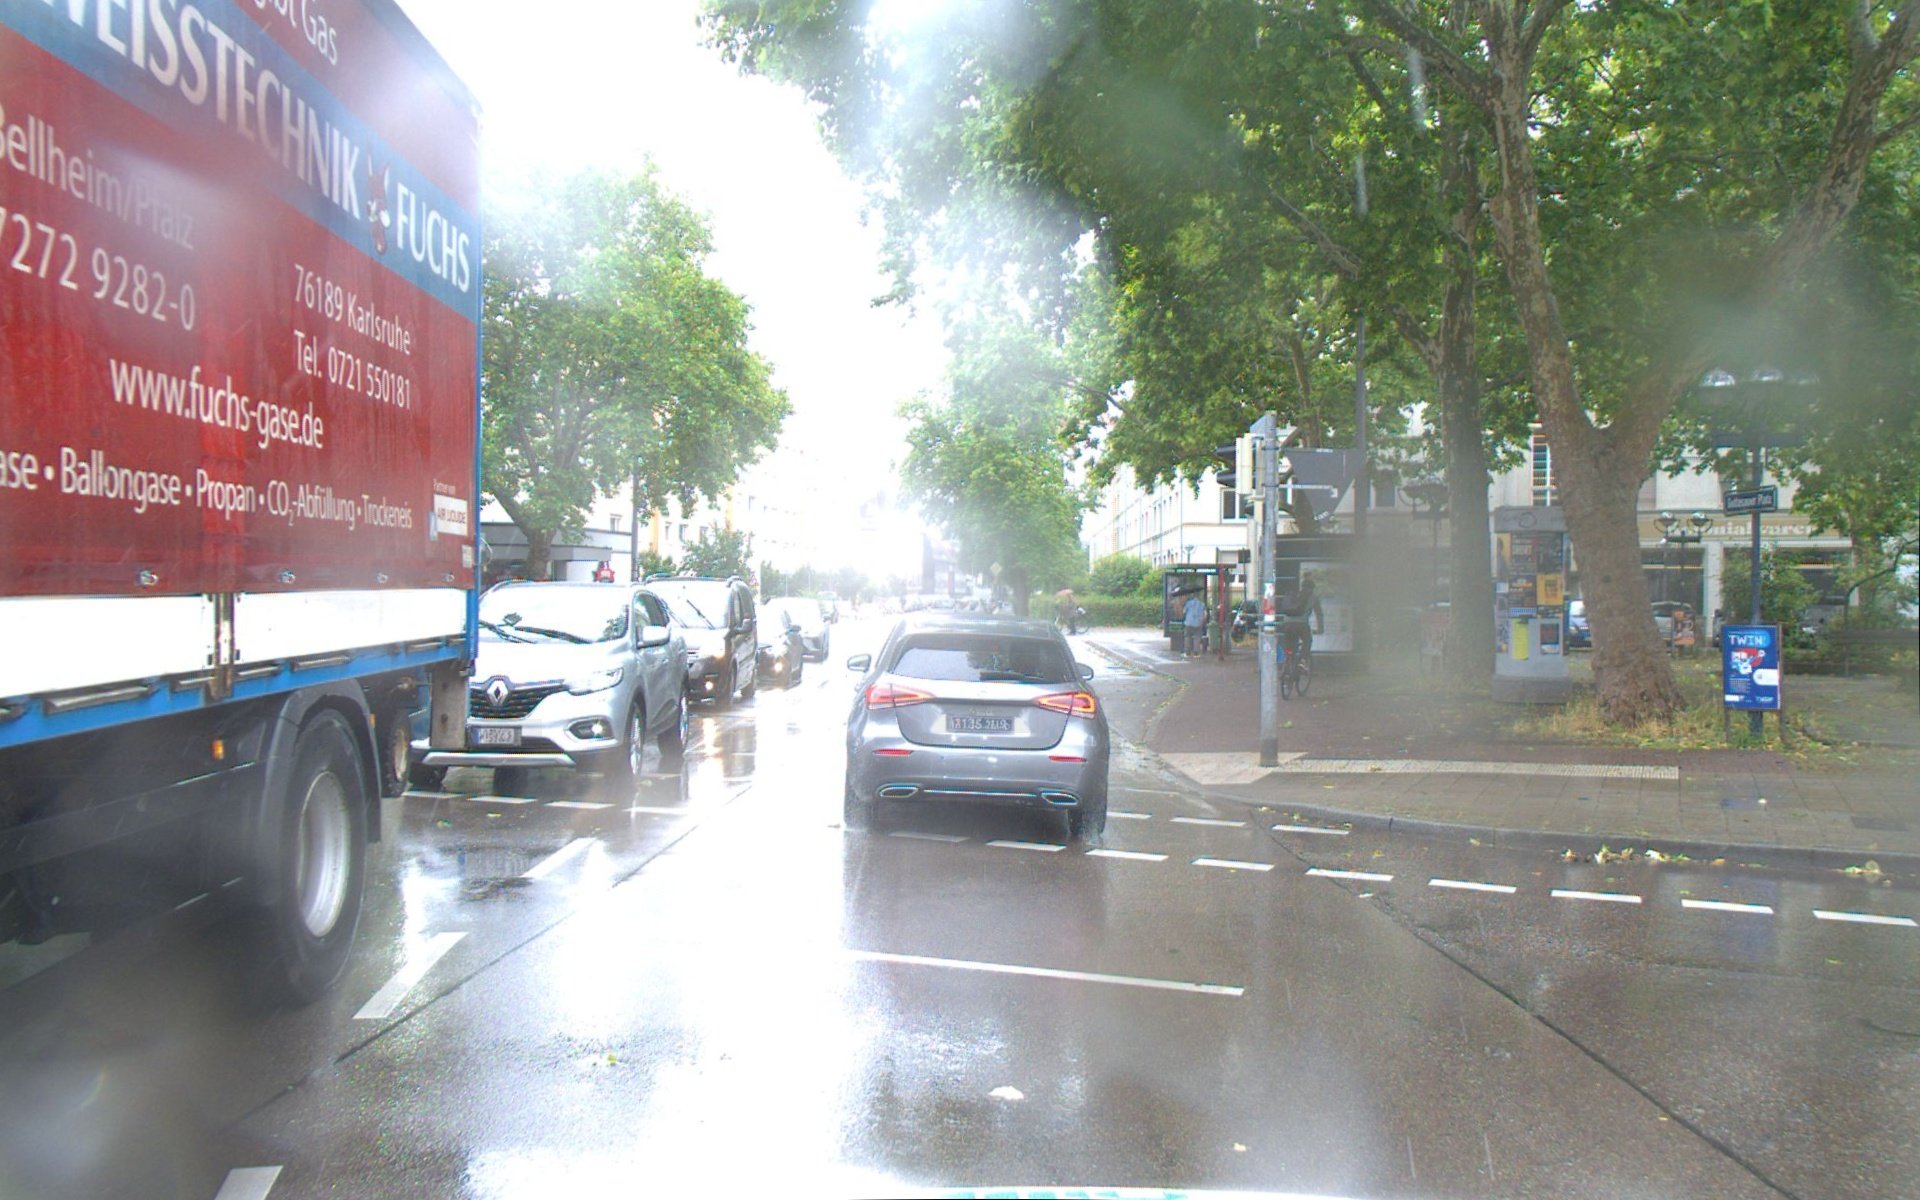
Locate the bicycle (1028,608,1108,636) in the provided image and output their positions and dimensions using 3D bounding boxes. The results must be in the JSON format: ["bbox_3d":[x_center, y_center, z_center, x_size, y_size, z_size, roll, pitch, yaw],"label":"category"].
[{"bbox_3d":[4.449,0.910,68.146,3.158,1.131,1.048,0,-1,-20],"label":"bicycle"}]

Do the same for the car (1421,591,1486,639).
[{"bbox_3d":[18.850,0.559,63.097,1.953,1.656,4.630,3,1,21],"label":"car"}]

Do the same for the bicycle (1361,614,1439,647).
[{"bbox_3d":[13.206,0.910,49.628,2.201,0.985,0.585,0,0,22],"label":"bicycle"}]

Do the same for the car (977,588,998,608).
[{"bbox_3d":[2.727,-0.207,162.480,2.004,1.868,4.793,0,0,2],"label":"car"}]

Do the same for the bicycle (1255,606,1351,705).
[{"bbox_3d":[5.344,0.823,25.616,0.735,1.401,2.704,-1,0,28],"label":"bicycle"}]

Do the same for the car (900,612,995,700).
[{"bbox_3d":[-0.259,0.954,29.665,1.574,1.396,3.999,-1,0,-1],"label":"car"}]

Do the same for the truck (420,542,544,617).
[{"bbox_3d":[-23.942,-1.034,83.019,5.562,3.709,2.176,0,0,3],"label":"truck"}]

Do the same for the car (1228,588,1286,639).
[{"bbox_3d":[9.790,0.482,54.340,1.652,1.578,3.525,0,-2,14],"label":"car"}]

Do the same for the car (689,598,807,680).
[{"bbox_3d":[-3.946,0.701,31.361,1.707,1.414,4.361,1,-1,-1],"label":"car"}]

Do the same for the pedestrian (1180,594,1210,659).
[{"bbox_3d":[6.235,0.692,43.840,0.701,1.698,0.665,0,0,0],"label":"pedestrian"}]

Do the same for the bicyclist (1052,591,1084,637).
[{"bbox_3d":[4.433,0.582,68.090,0.924,1.901,1.136,0,-1,-19],"label":"bicyclist"}]

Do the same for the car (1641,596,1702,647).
[{"bbox_3d":[21.711,0.684,50.428,1.646,1.457,3.733,0,-2,24],"label":"car"}]

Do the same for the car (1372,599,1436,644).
[{"bbox_3d":[14.205,0.718,52.803,1.550,1.360,3.261,0,-2,23],"label":"car"}]

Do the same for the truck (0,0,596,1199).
[{"bbox_3d":[-3.264,-0.638,4.474,2.789,4.095,10.310,-1,0,-3],"label":"truck"}]

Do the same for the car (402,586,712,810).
[{"bbox_3d":[-3.239,0.706,14.063,1.707,1.632,3.999,0,0,-1],"label":"car"}]

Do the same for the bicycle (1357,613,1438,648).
[{"bbox_3d":[12.786,0.891,48.383,2.235,1.000,0.545,0,0,22],"label":"bicycle"}]

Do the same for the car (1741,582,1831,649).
[{"bbox_3d":[24.243,0.486,48.678,2.111,1.870,3.998,0,-2,23],"label":"car"}]

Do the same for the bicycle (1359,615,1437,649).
[{"bbox_3d":[12.969,0.947,48.999,2.206,0.985,0.534,0,0,22],"label":"bicycle"}]

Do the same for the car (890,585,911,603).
[{"bbox_3d":[-6.124,-0.628,170.080,1.850,1.868,4.001,0,0,2],"label":"car"}]

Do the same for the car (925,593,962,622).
[{"bbox_3d":[-0.958,0.430,94.270,1.953,1.601,3.998,0,0,-2],"label":"car"}]

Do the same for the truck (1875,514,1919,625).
[{"bbox_3d":[26.564,-0.752,41.242,6.247,2.747,2.268,0,0,20],"label":"truck"}]

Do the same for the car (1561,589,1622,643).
[{"bbox_3d":[19.359,0.496,50.807,1.644,1.603,3.737,0,-1,19],"label":"car"}]

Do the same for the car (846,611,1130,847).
[{"bbox_3d":[0.139,0.825,12.147,1.755,1.396,3.506,1,0,-1],"label":"car"}]

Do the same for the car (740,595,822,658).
[{"bbox_3d":[-4.528,0.644,42.396,1.808,1.536,4.053,0,0,-2],"label":"car"}]

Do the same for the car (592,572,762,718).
[{"bbox_3d":[-3.938,0.578,23.607,1.770,1.894,4.109,0,0,-1],"label":"car"}]

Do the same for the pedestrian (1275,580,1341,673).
[{"bbox_3d":[5.442,0.401,25.816,0.730,1.422,1.045,-1,0,28],"label":"pedestrian"}]
